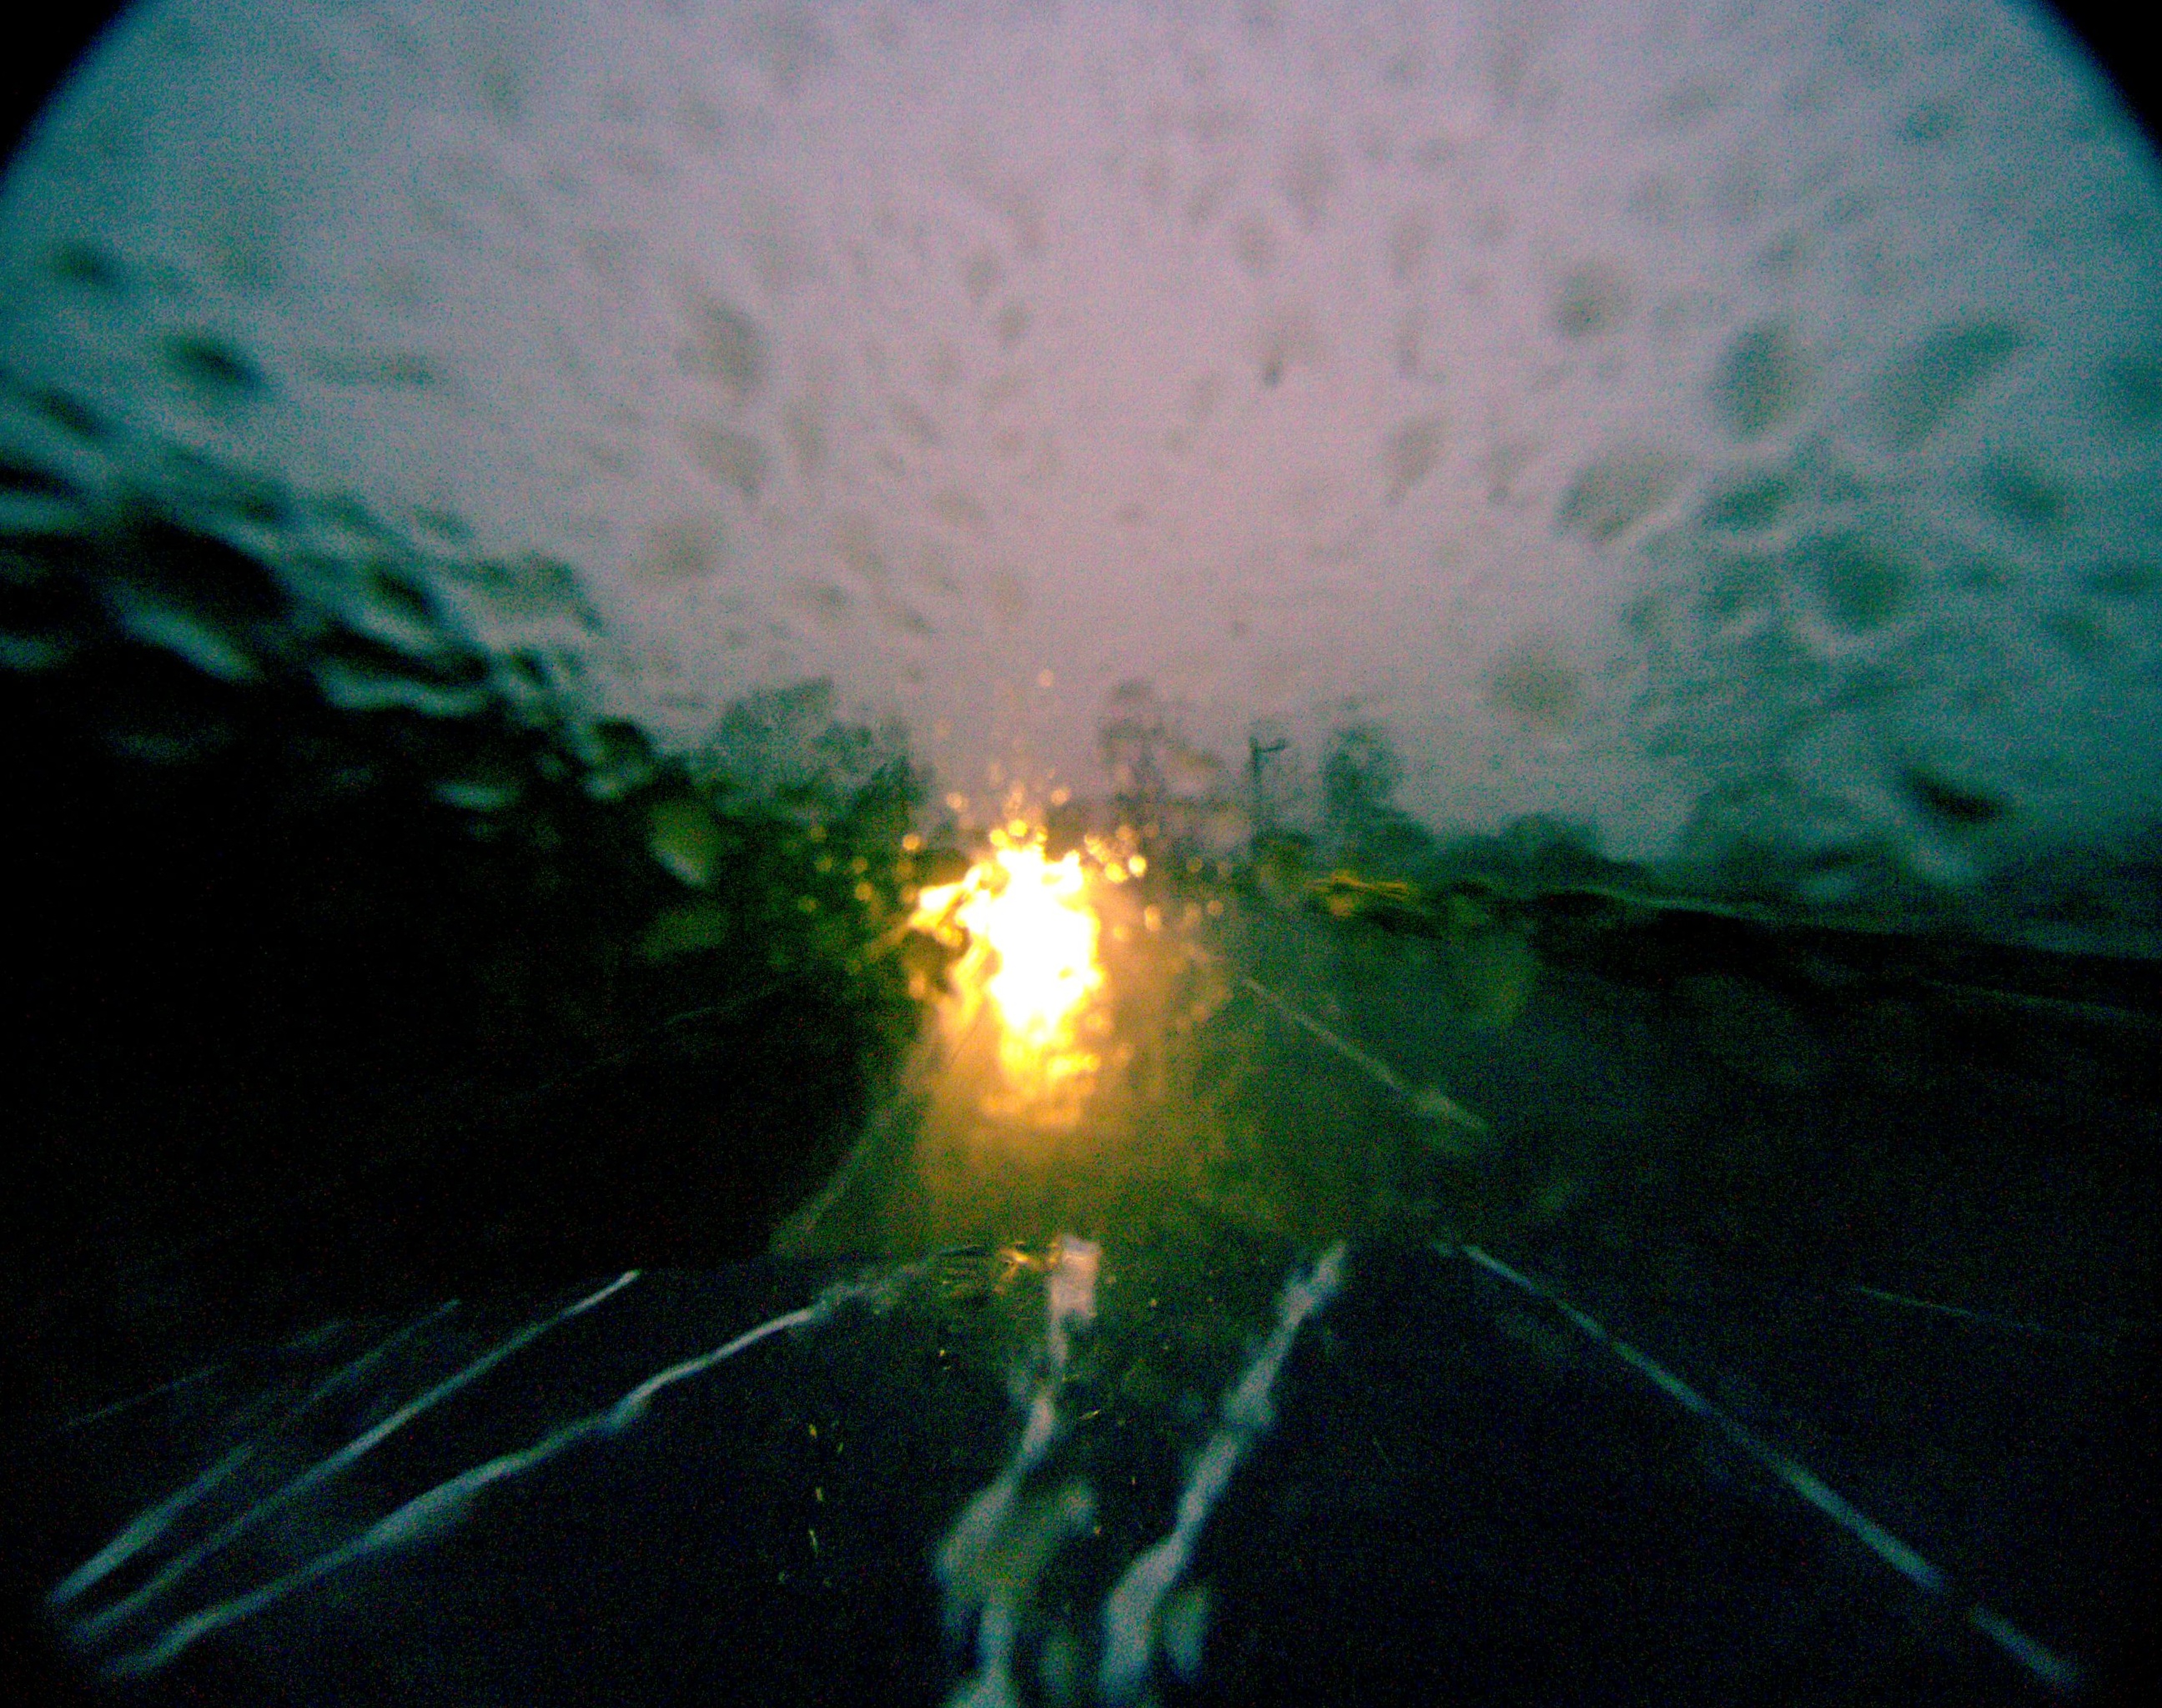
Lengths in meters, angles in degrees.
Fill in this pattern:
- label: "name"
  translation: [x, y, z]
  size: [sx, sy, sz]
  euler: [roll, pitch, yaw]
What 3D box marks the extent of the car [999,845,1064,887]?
- label: "car"
  translation: [-2.143, 0.452, 31.479]
  size: [2.104, 1.566, 4.794]
  euler: [1, 0, -11]
